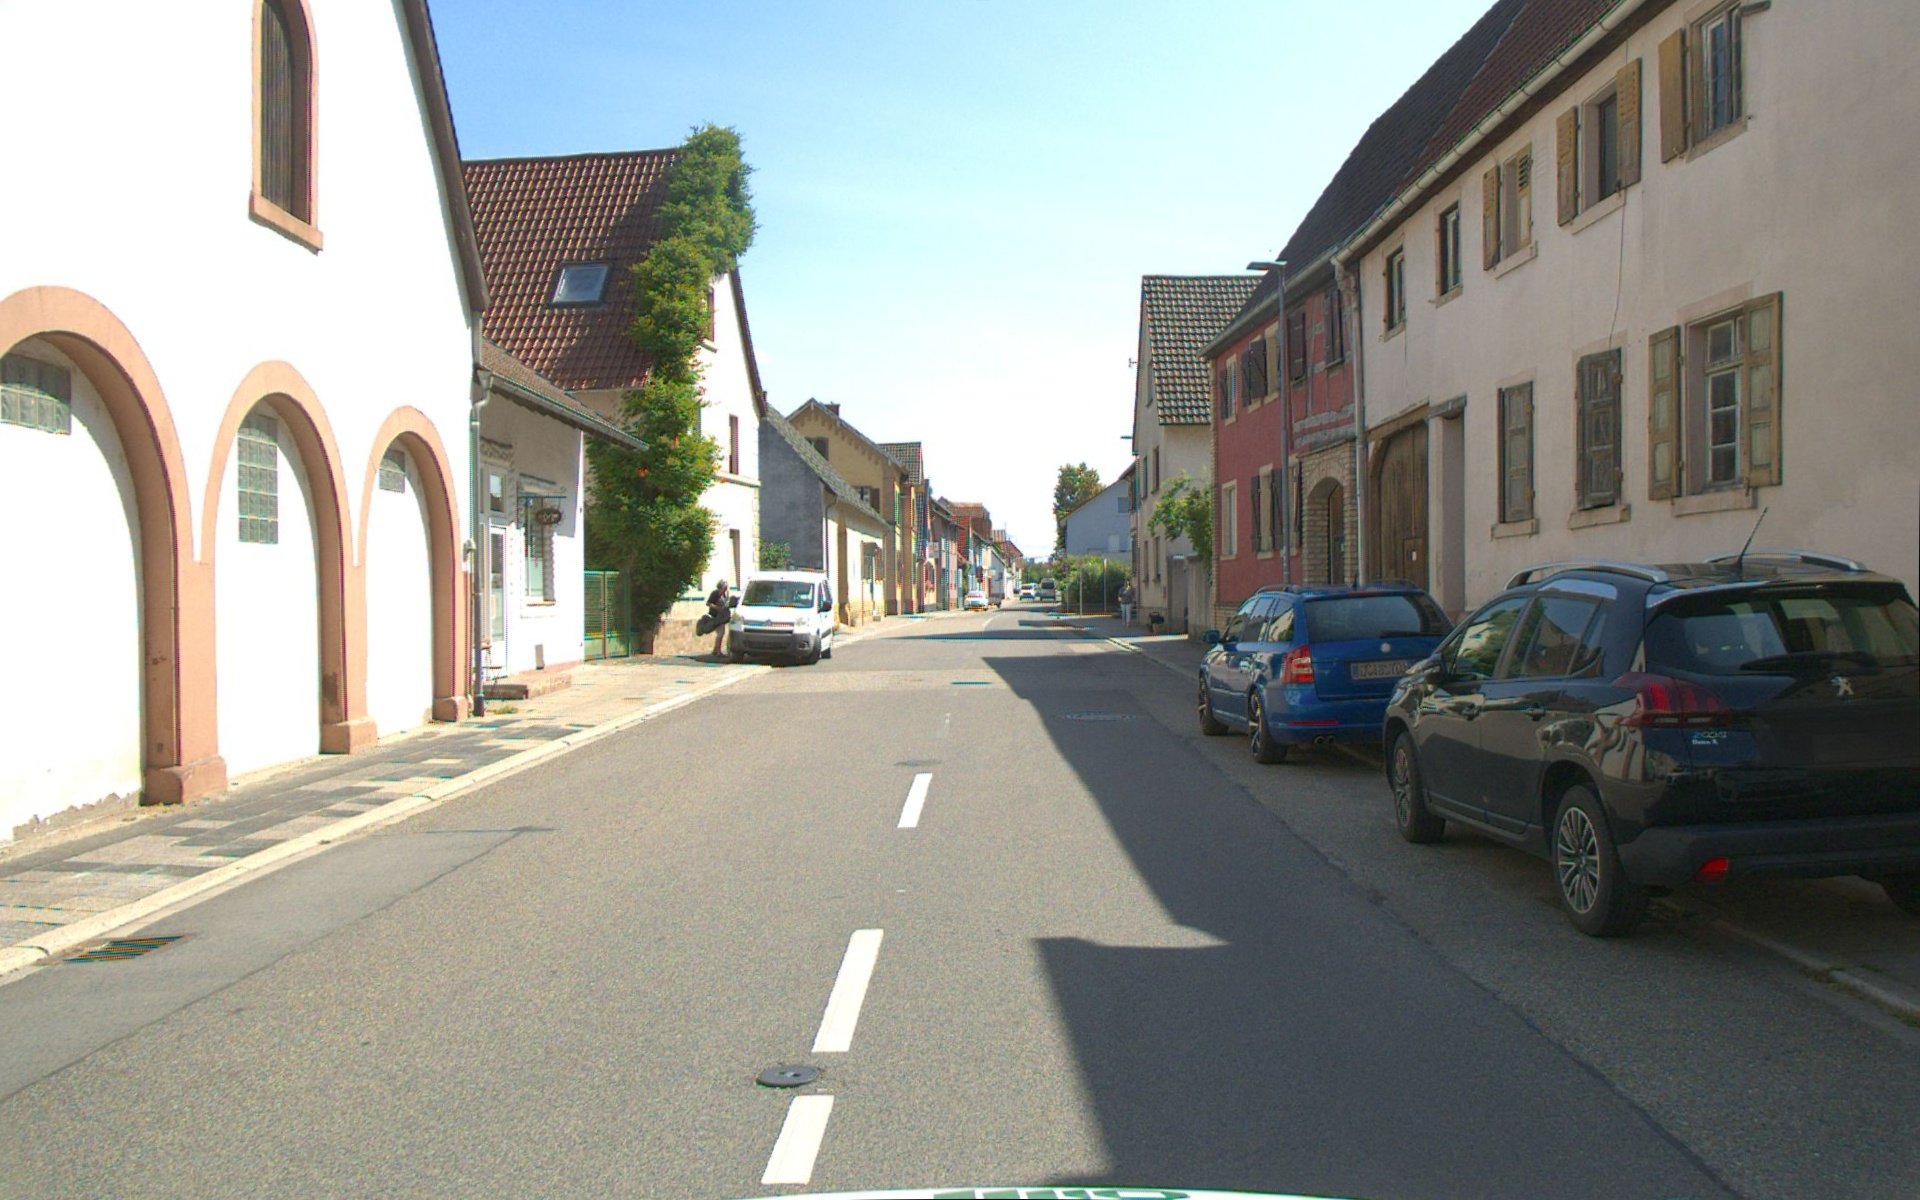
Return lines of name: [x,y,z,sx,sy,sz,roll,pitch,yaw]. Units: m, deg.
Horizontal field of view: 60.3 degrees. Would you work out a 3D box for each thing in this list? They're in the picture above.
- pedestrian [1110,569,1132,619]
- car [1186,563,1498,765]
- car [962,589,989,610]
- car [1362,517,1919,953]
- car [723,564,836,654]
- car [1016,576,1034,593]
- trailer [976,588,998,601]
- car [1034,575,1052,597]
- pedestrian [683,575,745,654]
pedestrian: [5.501,-0.208,56.481,0.703,1.693,0.893,-1,1,5]
car: [3.252,0.464,14.971,1.664,1.495,4.409,-2,1,-1]
car: [1.186,-0.052,128.005,1.952,1.467,4.001,-1,1,2]
car: [3.388,0.474,8.307,1.664,1.611,4.027,-2,1,-1]
car: [-3.568,0.137,33.352,1.817,1.676,4.429,0,1,0]
car: [8.468,-2.027,216.096,2.113,2.116,4.000,-2,-1,1]
trailer: [2.369,-0.486,144.780,1.952,1.109,4.001,0,1,1]
car: [10.244,-1.749,203.969,1.975,2.612,4.001,-1,1,1]
pedestrian: [-5.002,0.282,33.636,1.113,1.579,1.016,0,1,-1]
